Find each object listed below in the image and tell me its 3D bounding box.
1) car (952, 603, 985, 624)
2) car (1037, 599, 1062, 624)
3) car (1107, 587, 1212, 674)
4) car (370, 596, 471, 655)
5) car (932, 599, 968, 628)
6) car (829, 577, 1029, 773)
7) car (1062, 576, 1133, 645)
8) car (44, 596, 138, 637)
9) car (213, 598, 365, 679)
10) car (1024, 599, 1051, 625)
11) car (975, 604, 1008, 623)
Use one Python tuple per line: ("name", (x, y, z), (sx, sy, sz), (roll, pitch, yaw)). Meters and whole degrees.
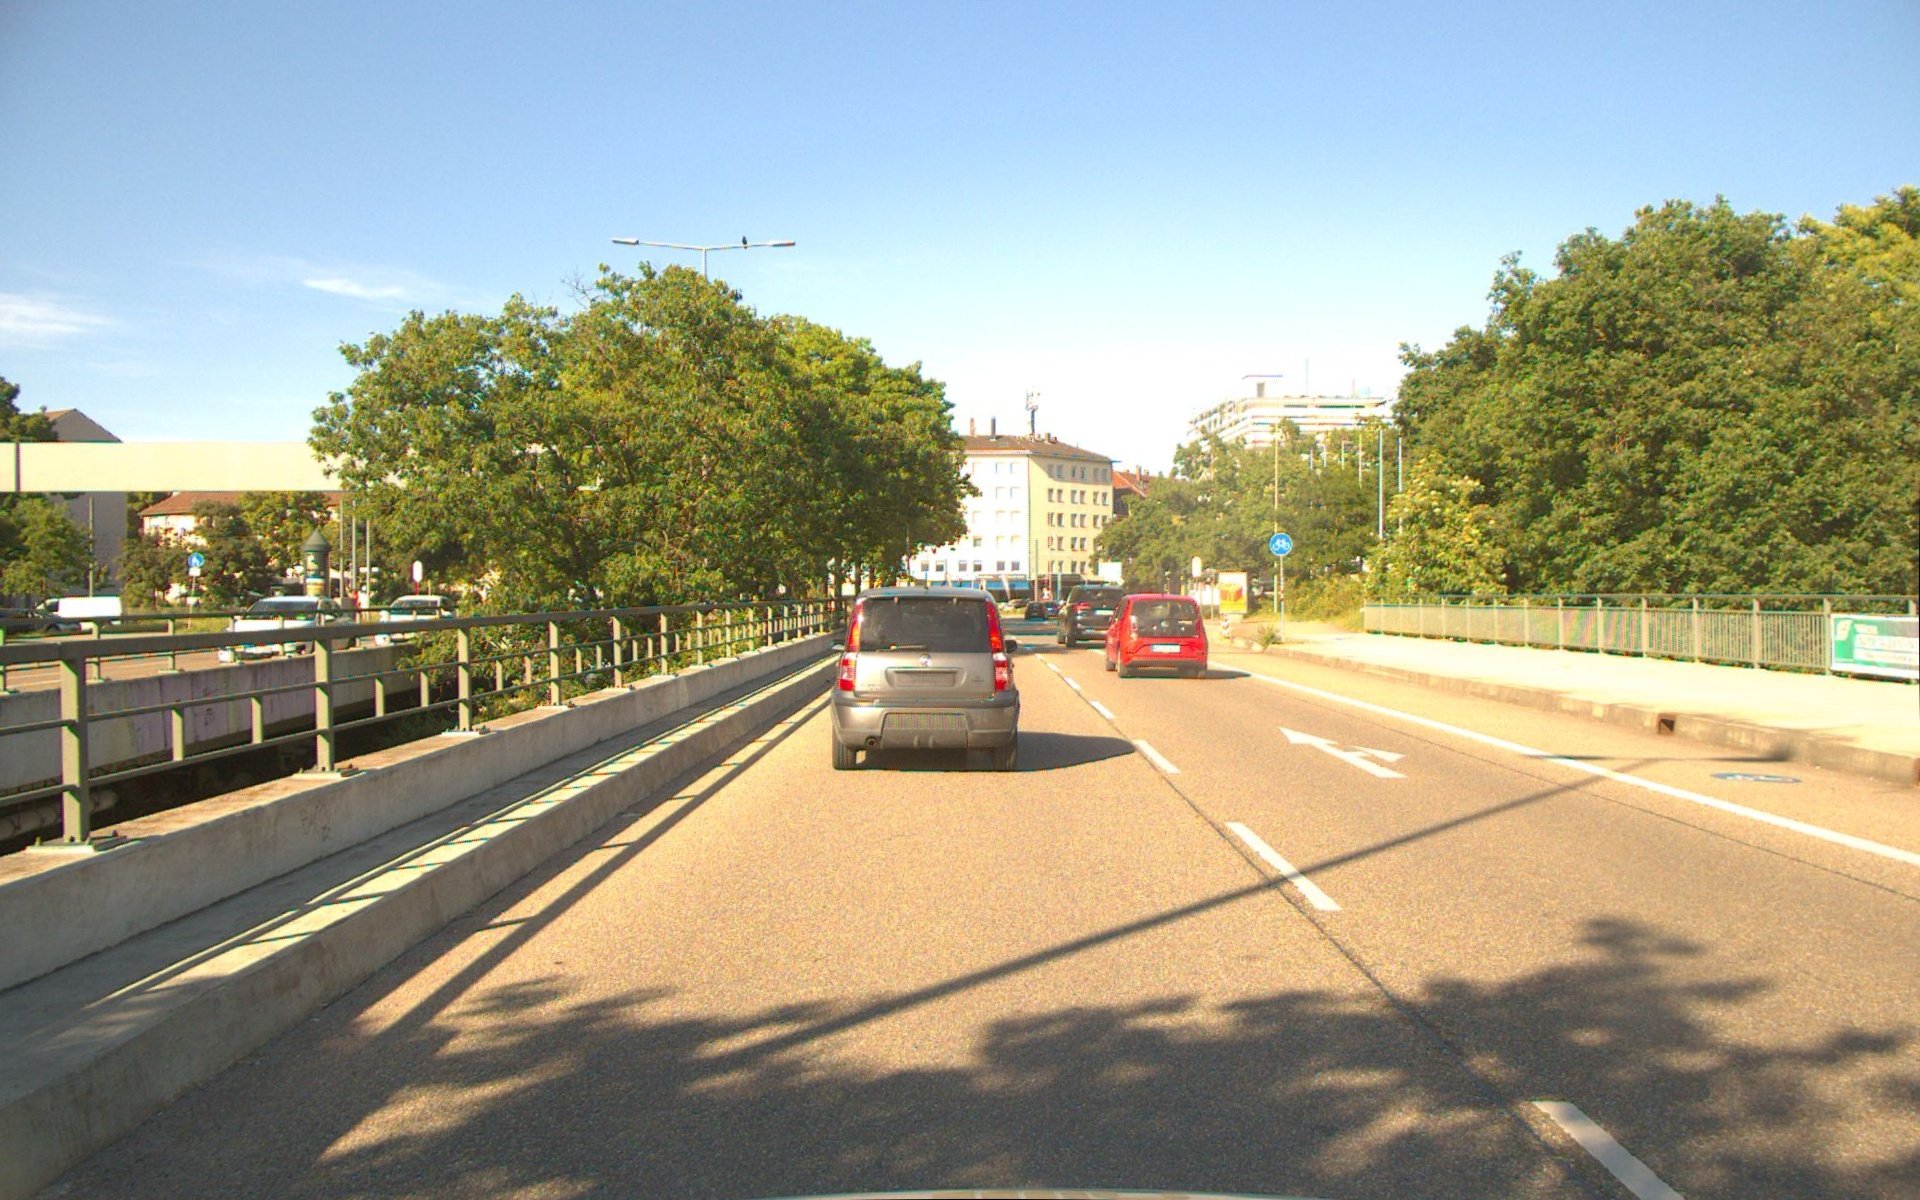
("car", (0.702, 1.049, 130.680), (1.903, 1.555, 4.101), (0, 0, 10))
("car", (7.478, 0.968, 137.791), (1.904, 1.872, 4.154), (-3, -1, 4))
("car", (3.657, 0.514, 30.825), (1.584, 1.488, 3.752), (1, 1, 2))
("car", (-14.729, 0.658, 45.347), (1.710, 1.526, 3.996), (-1, 0, -5))
("car", (-0.534, 0.725, 91.692), (1.905, 1.555, 4.098), (0, 0, 1))
("car", (-0.265, 0.576, 15.112), (1.584, 1.542, 3.819), (1, 1, -1))
("car", (3.916, 0.312, 47.592), (1.904, 1.872, 4.154), (1, -1, 3))
("car", (-45.904, 0.846, 87.452), (4.179, 2.049, 1.986), (-1, 0, -23))
("car", (-13.556, 0.728, 33.651), (1.710, 1.526, 3.996), (-1, 0, -5))
("car", (6.094, 0.946, 130.447), (1.904, 1.872, 4.154), (-3, -1, 4))
("car", (2.690, 1.157, 140.844), (1.904, 1.555, 4.100), (0, 0, 15))
